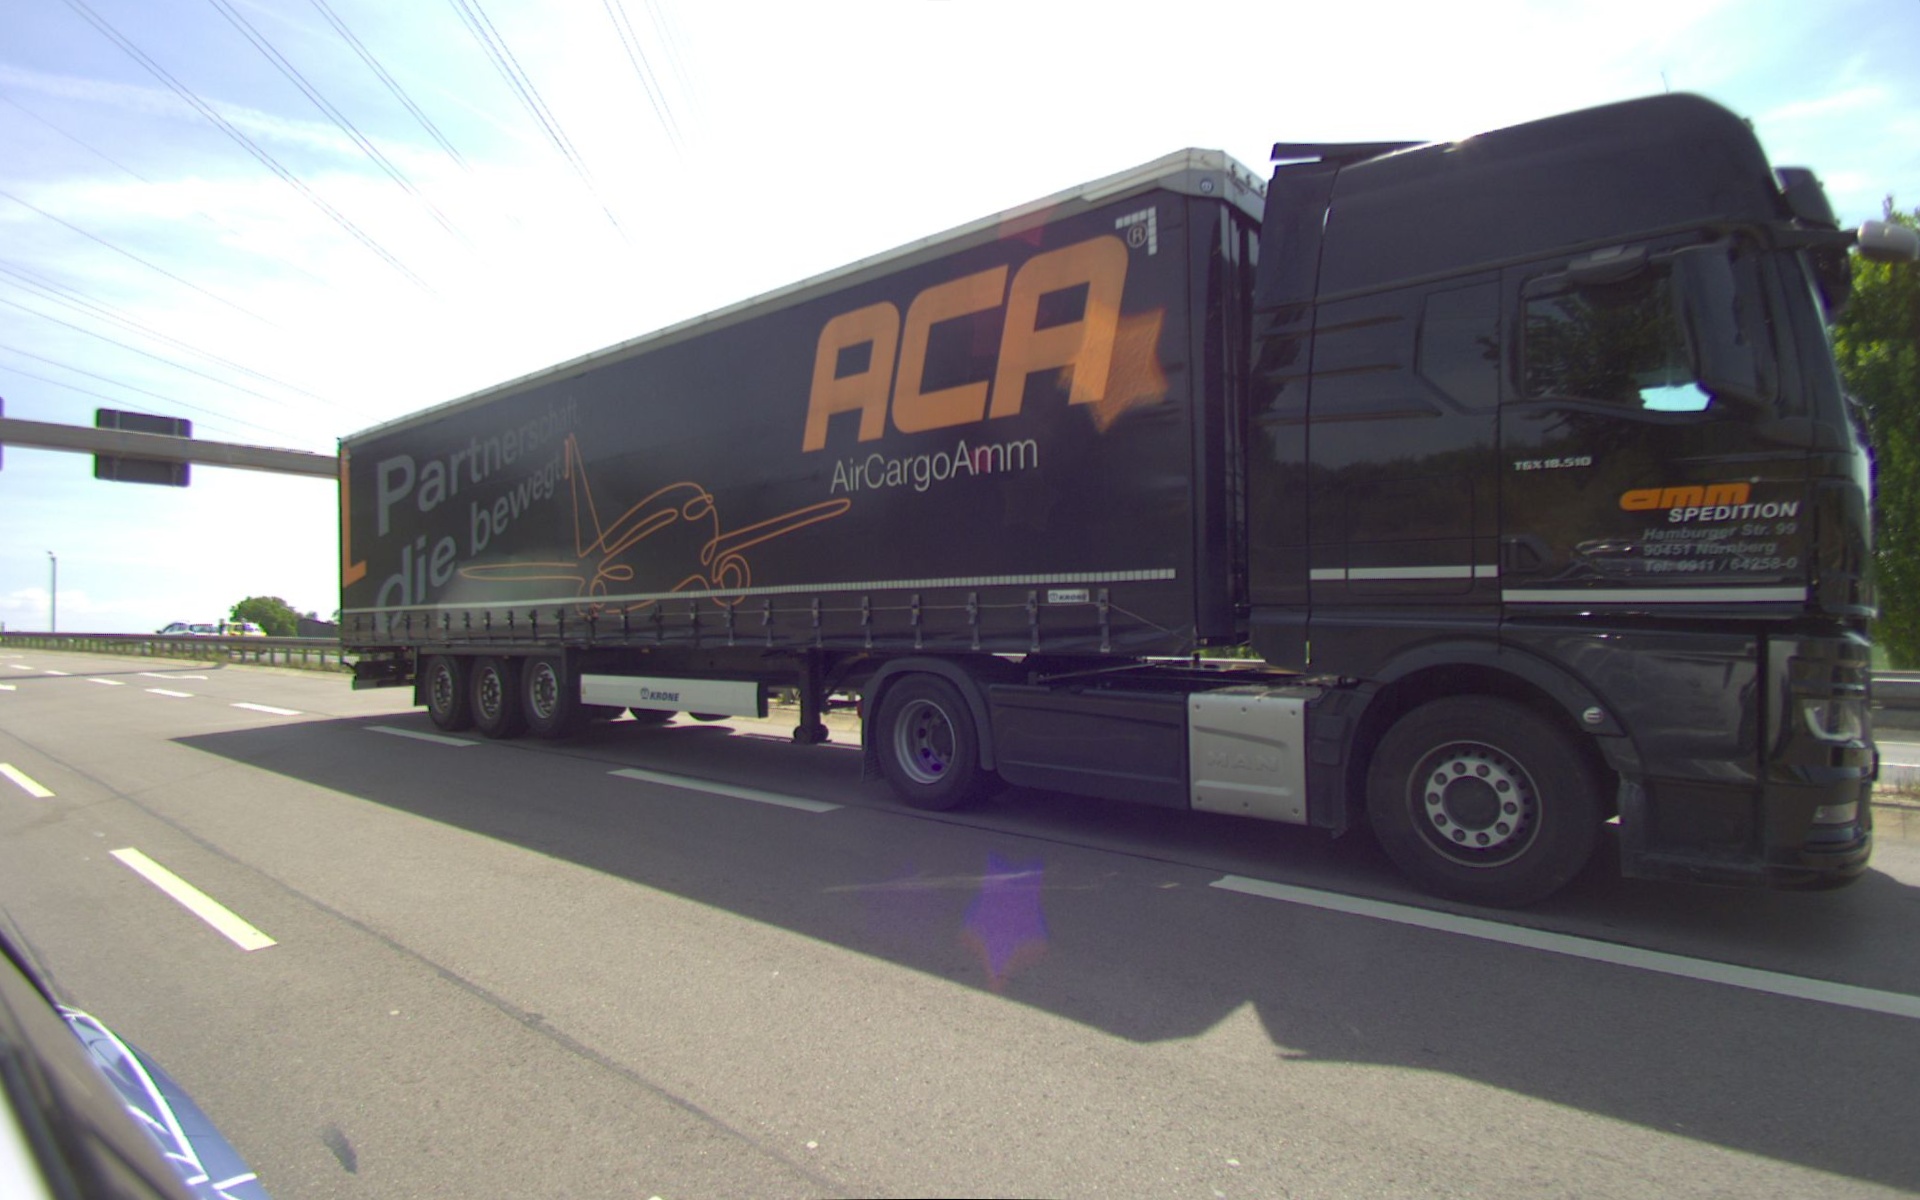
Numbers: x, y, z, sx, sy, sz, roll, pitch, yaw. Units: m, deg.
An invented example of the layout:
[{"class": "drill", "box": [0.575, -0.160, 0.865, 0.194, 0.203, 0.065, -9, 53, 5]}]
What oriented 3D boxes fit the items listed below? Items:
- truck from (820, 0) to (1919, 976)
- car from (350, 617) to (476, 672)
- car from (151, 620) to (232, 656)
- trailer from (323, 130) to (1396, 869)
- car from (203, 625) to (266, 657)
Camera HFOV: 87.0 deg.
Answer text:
[{"class": "truck", "box": [2.138, -0.623, 6.616, 5.967, 4.043, 2.755, -1, 0, 40]}, {"class": "car", "box": [-16.301, 1.295, 30.082, 4.320, 1.516, 1.719, -1, -3, 39]}, {"class": "car", "box": [-32.587, 1.599, 42.901, 4.320, 1.454, 1.719, -1, -3, 39]}, {"class": "trailer", "box": [-2.911, -0.448, 10.940, 13.777, 3.943, 2.755, -1, 0, 41]}, {"class": "car", "box": [-34.721, 1.953, 48.431, 3.700, 1.492, 1.499, -2, -4, 39]}]
